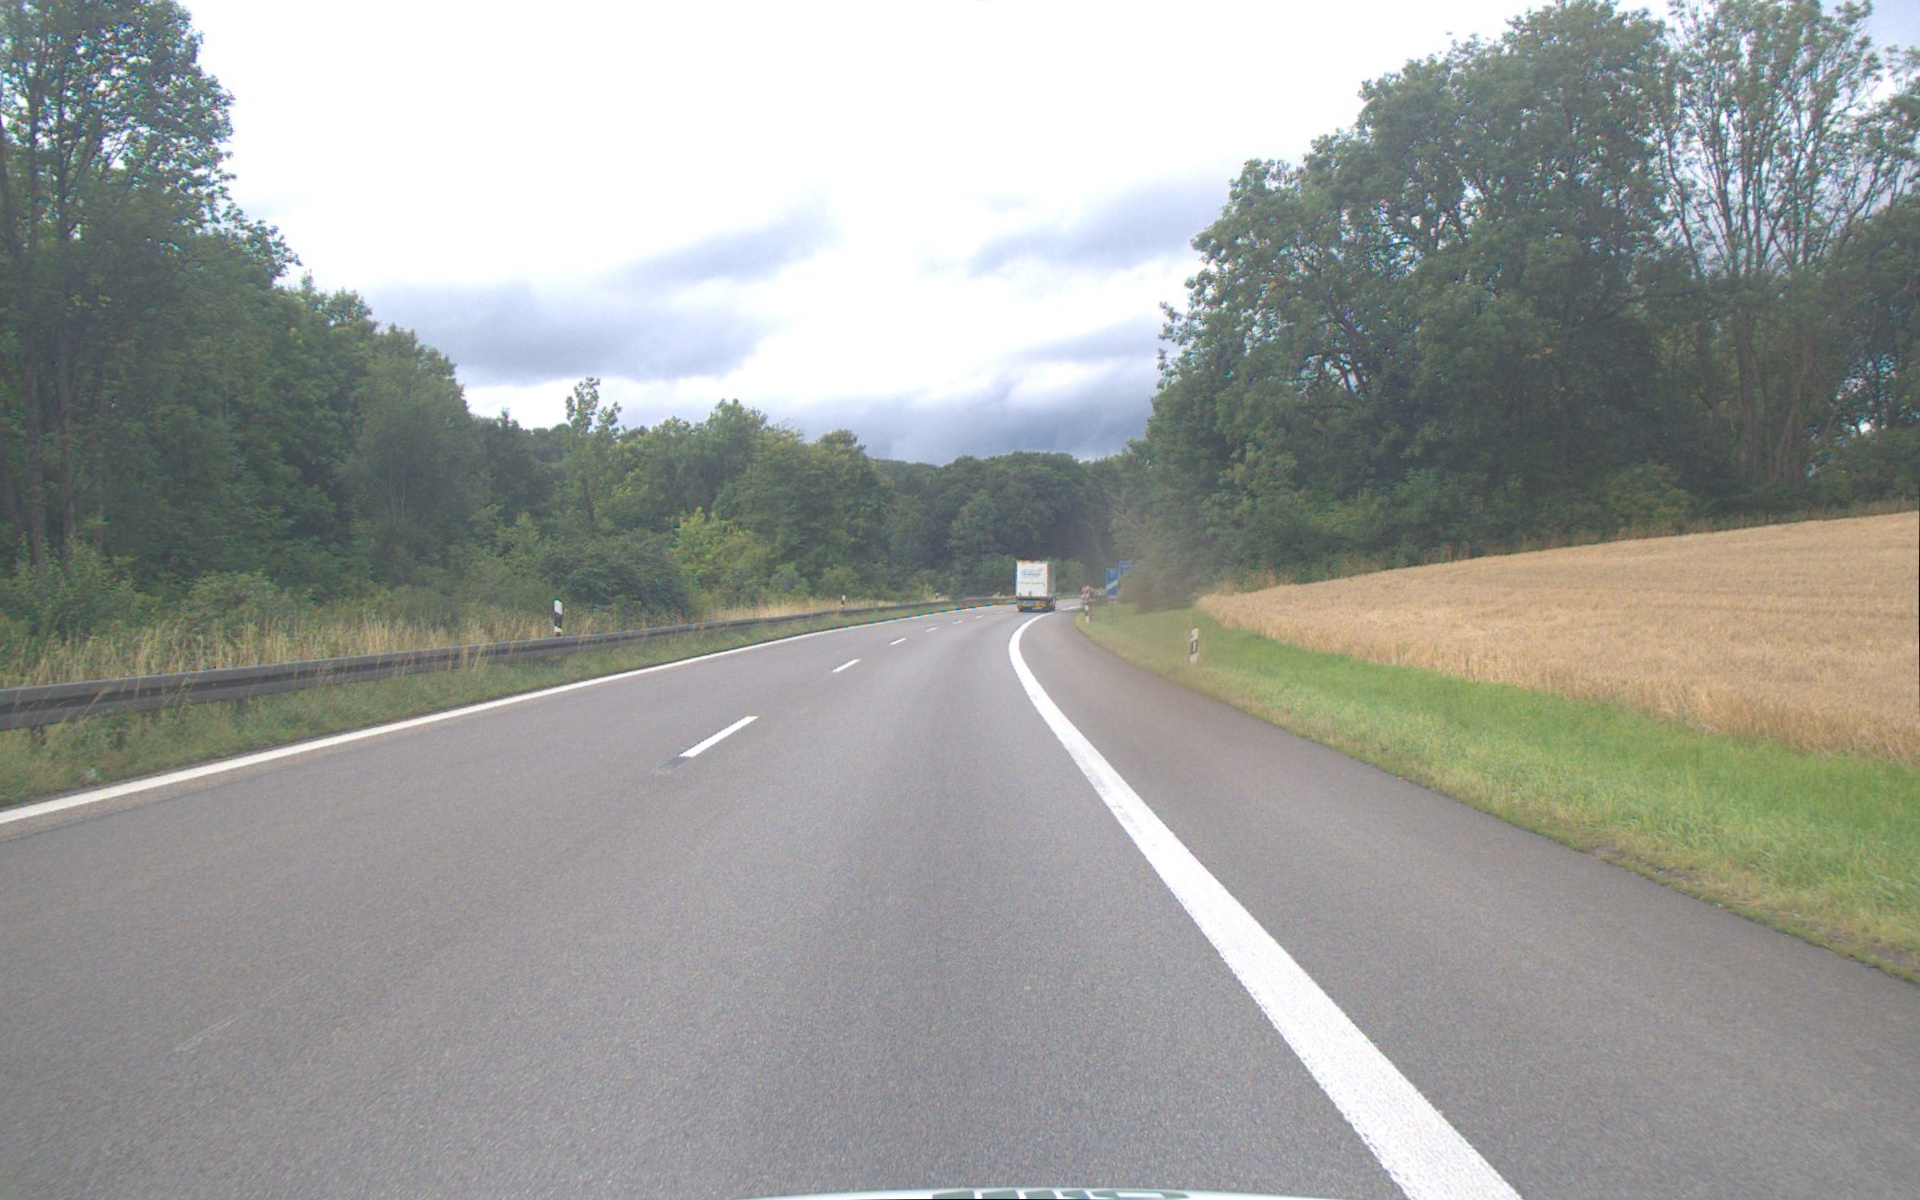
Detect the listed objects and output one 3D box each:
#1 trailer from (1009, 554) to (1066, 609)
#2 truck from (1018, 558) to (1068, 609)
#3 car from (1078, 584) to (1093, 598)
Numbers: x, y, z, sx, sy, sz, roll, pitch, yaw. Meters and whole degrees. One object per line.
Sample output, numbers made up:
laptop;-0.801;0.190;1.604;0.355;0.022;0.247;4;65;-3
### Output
trailer;6.500;-1.429;135.844;3.725;4.247;14.818;0;0;6
truck;7.200;-1.375;142.253;3.707;4.204;8.270;0;0;6
car;17.503;-1.297;230.985;1.862;1.827;4.003;0;-1;6
